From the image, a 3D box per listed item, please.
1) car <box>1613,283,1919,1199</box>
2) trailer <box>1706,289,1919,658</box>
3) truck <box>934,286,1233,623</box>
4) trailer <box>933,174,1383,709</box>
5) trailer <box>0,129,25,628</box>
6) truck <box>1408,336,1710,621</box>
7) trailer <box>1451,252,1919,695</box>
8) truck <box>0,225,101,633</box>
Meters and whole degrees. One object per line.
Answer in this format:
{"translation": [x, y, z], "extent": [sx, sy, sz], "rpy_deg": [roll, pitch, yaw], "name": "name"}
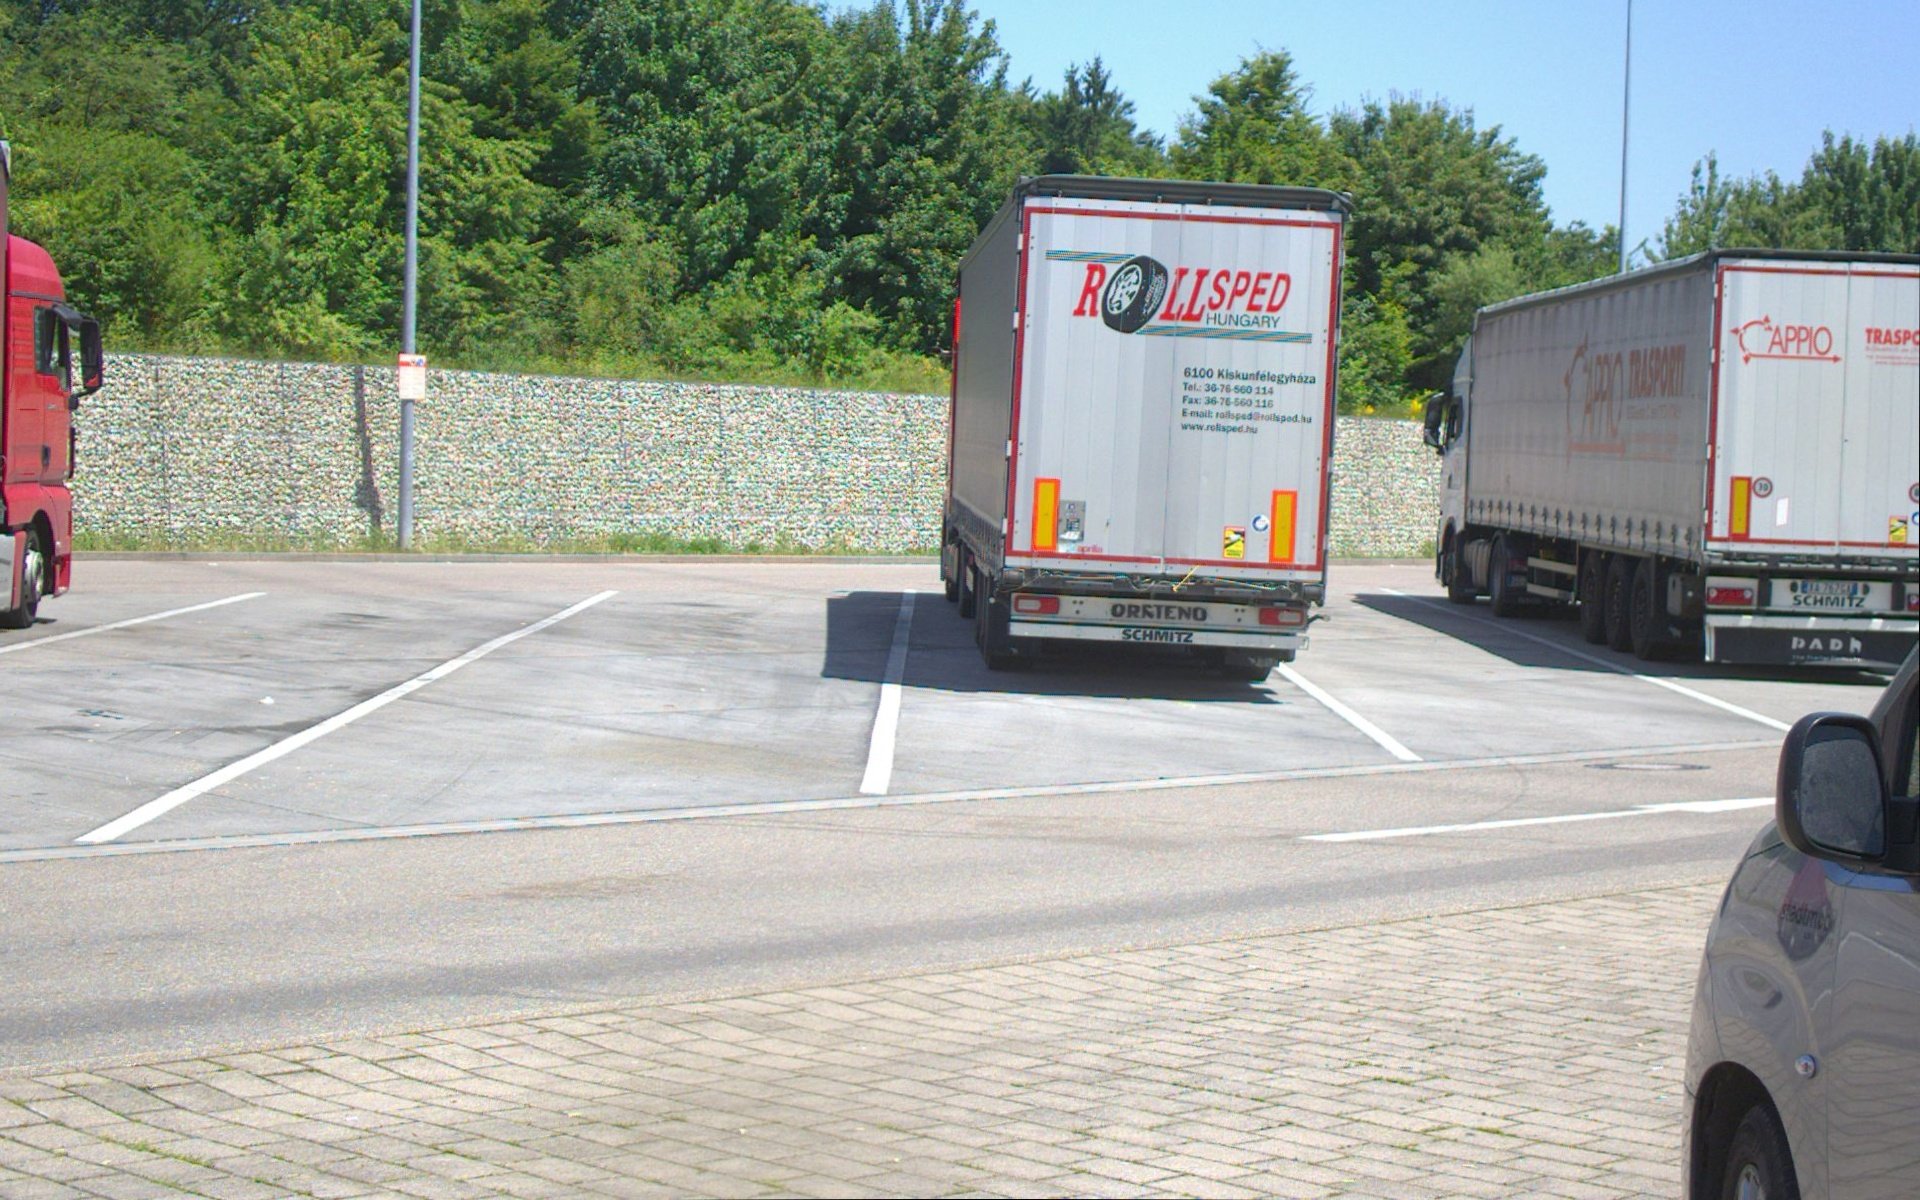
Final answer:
{"translation": [2.161, 0.583, 3.857], "extent": [1.869, 1.857, 4.177], "rpy_deg": [2, 2, -2], "name": "car"}
{"translation": [11.767, -1.462, 39.790], "extent": [2.811, 3.976, 14.396], "rpy_deg": [2, 3, -1], "name": "trailer"}
{"translation": [1.322, -1.742, 40.518], "extent": [3.103, 3.554, 5.900], "rpy_deg": [2, 3, -1], "name": "truck"}
{"translation": [1.459, -1.600, 33.625], "extent": [3.133, 3.976, 14.397], "rpy_deg": [2, 3, -1], "name": "trailer"}
{"translation": [-9.183, -1.494, 21.576], "extent": [2.791, 4.071, 14.133], "rpy_deg": [2, 3, -1], "name": "trailer"}
{"translation": [8.033, -1.707, 46.838], "extent": [2.862, 3.509, 5.900], "rpy_deg": [2, 3, -1], "name": "truck"}
{"translation": [8.126, -1.530, 38.738], "extent": [2.811, 3.976, 14.396], "rpy_deg": [2, 3, -1], "name": "trailer"}
{"translation": [-9.226, -1.450, 28.150], "extent": [2.851, 3.316, 5.900], "rpy_deg": [2, 3, -1], "name": "truck"}
